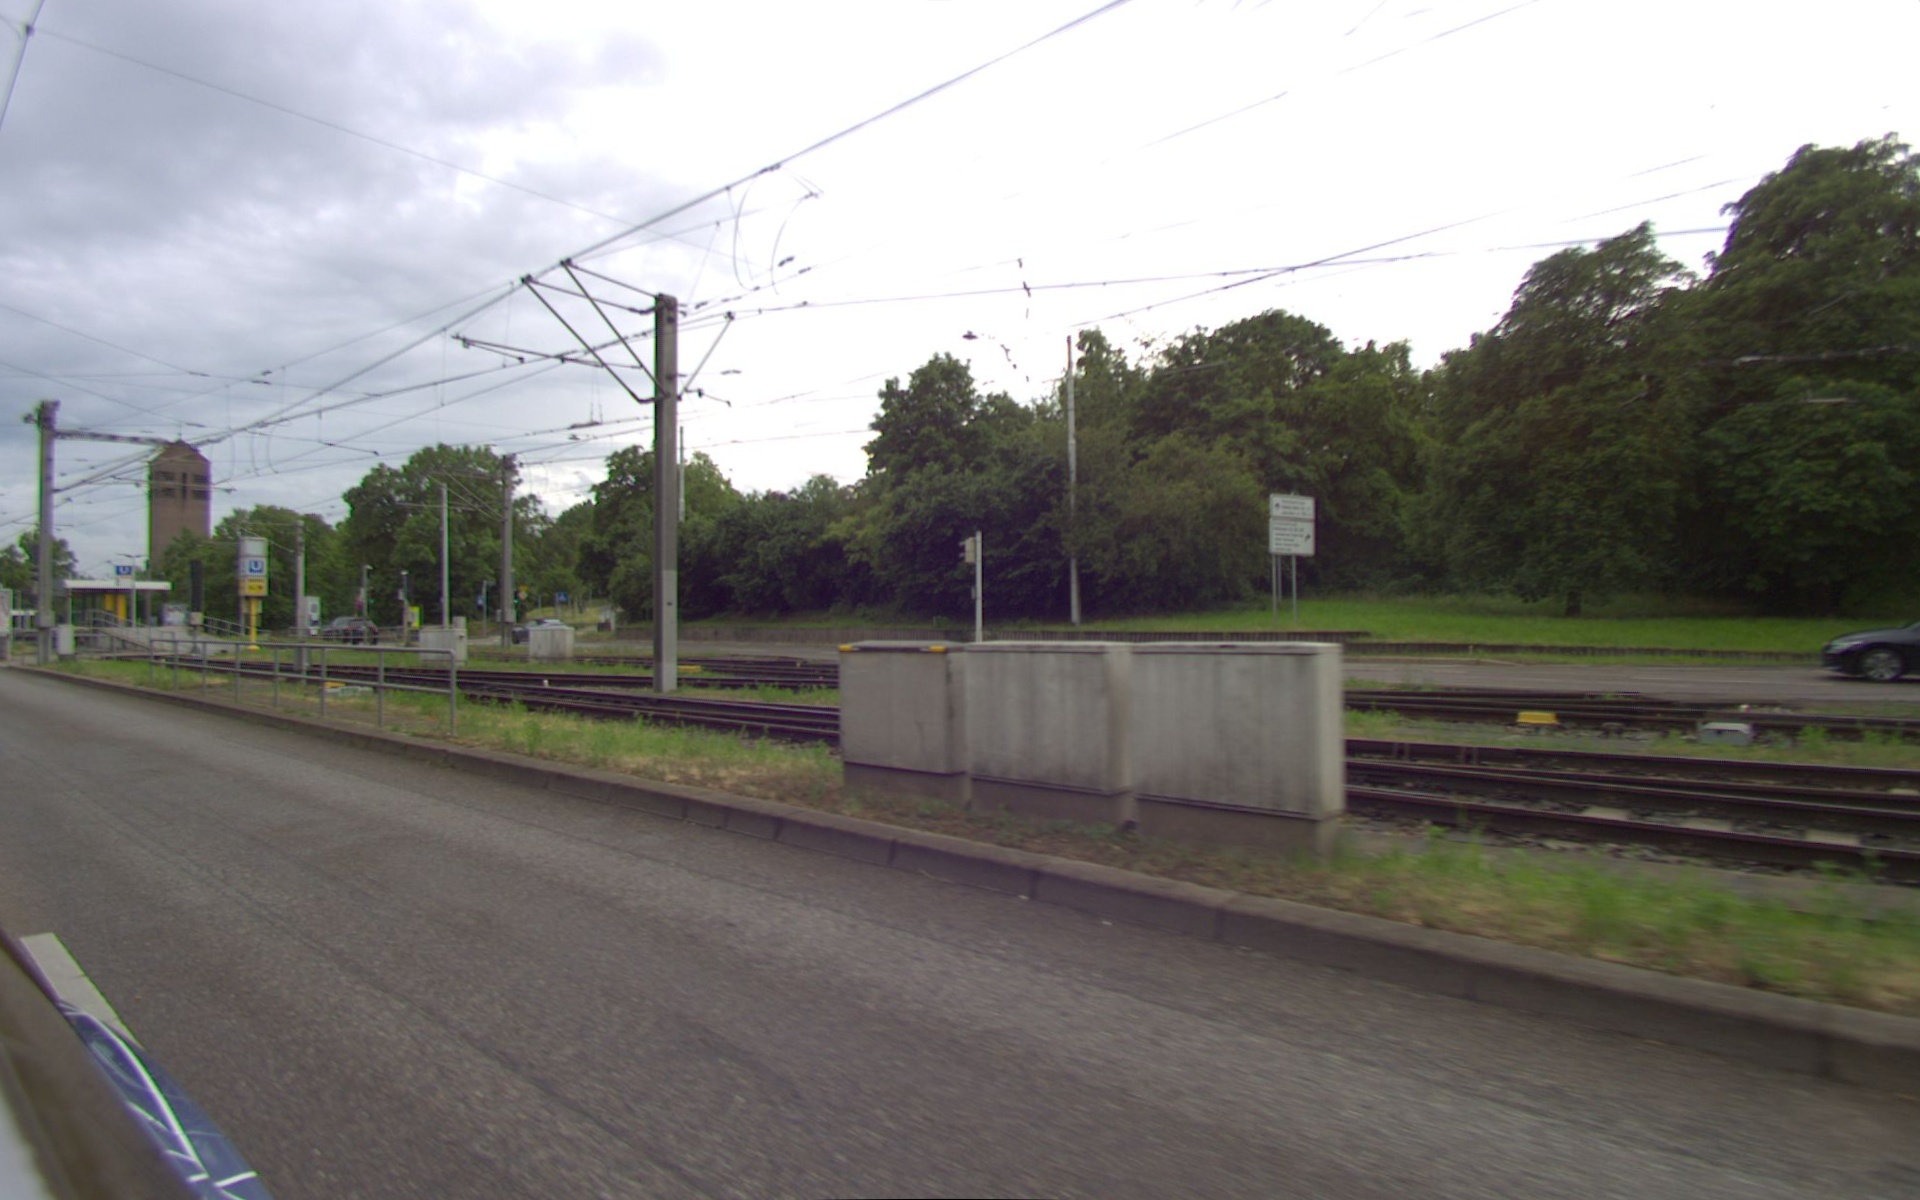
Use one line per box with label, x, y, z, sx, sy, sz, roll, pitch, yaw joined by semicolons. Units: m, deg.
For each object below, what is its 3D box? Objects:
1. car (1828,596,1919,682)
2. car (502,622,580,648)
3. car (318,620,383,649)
car;17.827;0.645;17.135;4.681;1.458;1.906;-2;-2;42
car;-21.528;1.788;51.969;4.471;1.271;1.907;-2;-2;40
car;-37.841;2.123;62.759;4.859;1.752;2.062;-2;-2;40
